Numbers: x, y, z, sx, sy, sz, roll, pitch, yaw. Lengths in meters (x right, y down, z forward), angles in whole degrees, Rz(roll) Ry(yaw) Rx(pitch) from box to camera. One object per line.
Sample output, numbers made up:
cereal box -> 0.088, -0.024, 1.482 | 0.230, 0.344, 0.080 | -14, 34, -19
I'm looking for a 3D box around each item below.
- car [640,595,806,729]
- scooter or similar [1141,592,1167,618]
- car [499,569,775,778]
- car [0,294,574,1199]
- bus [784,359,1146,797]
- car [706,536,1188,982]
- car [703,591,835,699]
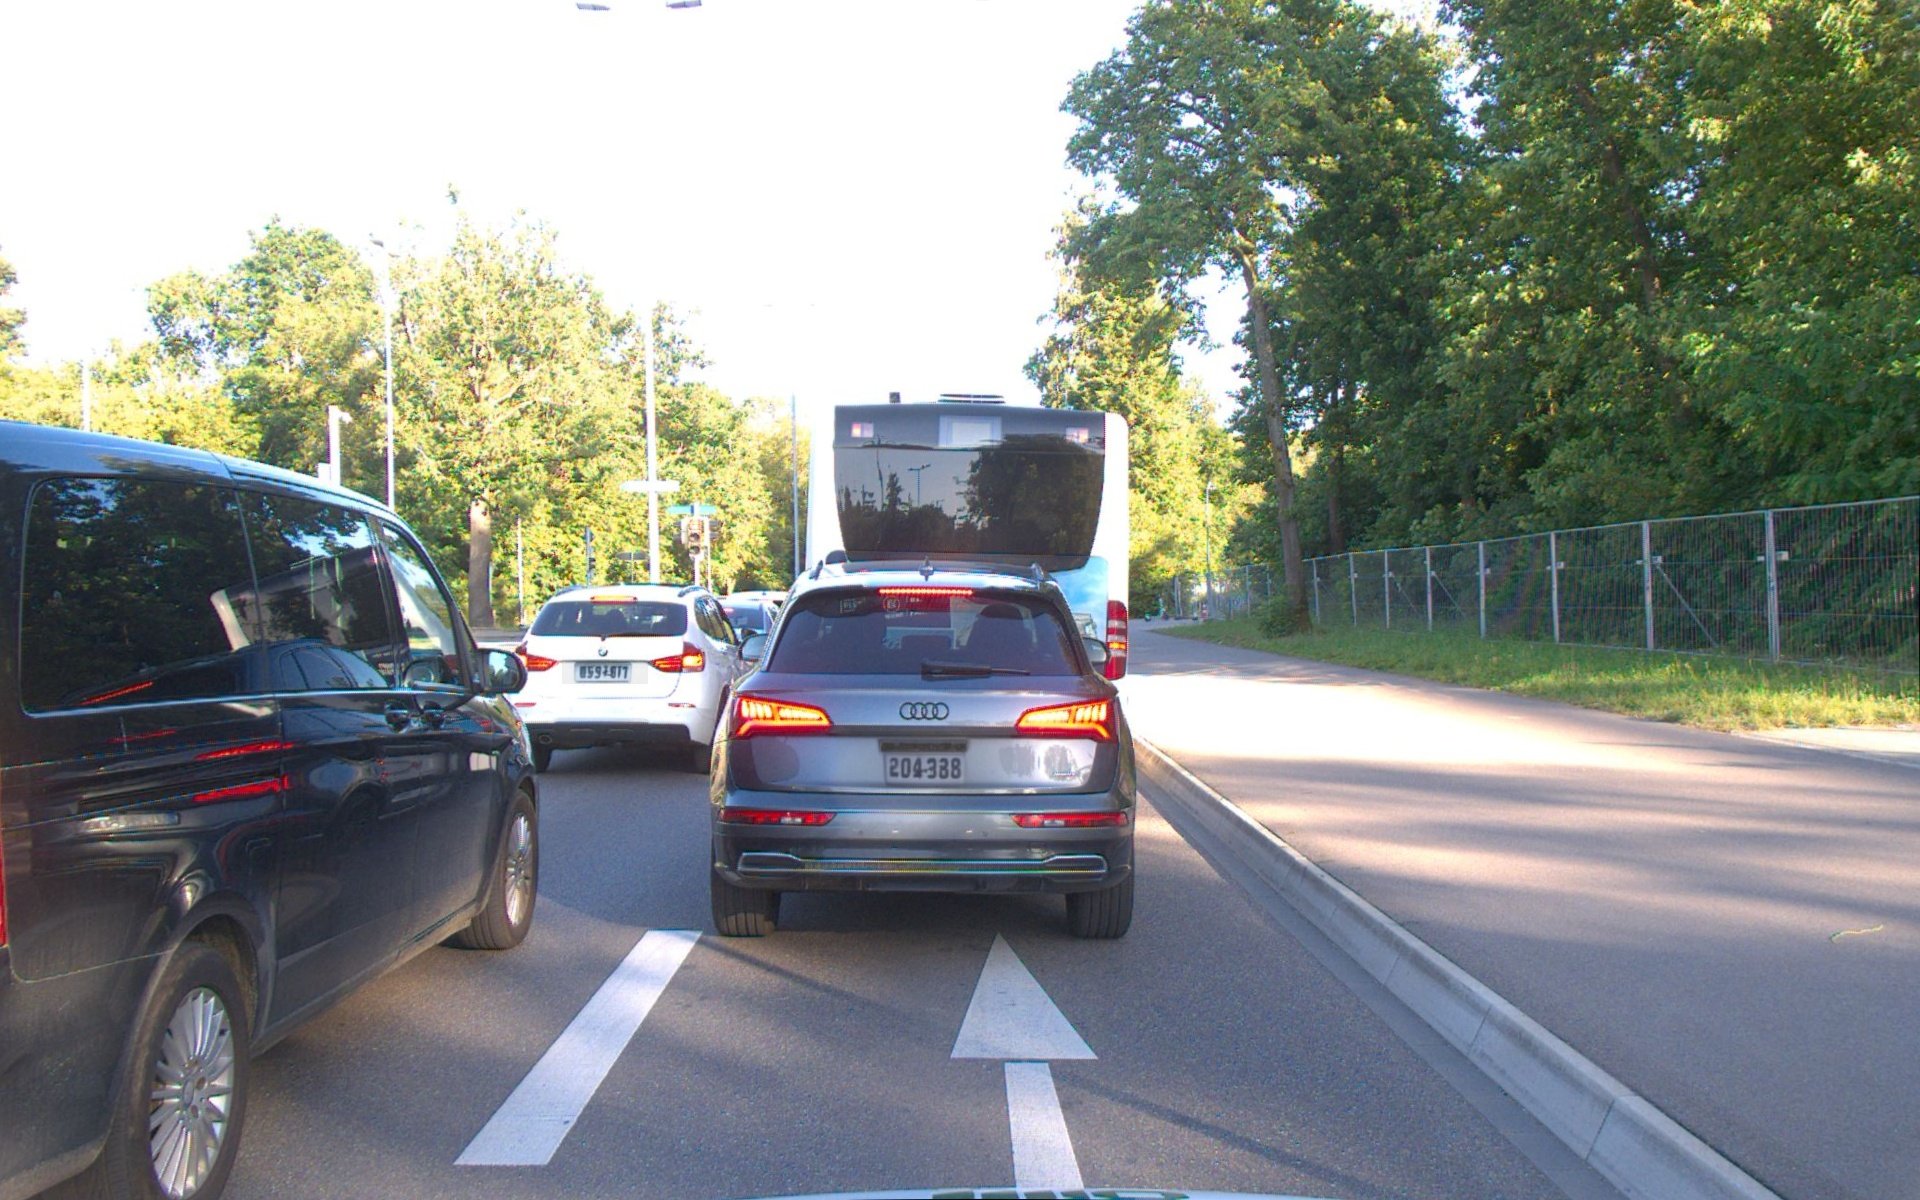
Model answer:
car -> -2.923, 0.704, 21.168 | 1.750, 1.469, 4.275 | 1, 1, -4
scooter or similar -> 9.157, 0.240, 78.073 | 1.158, 1.195, 0.659 | 1, 0, 10
car -> -2.770, 0.612, 15.128 | 1.683, 1.608, 4.433 | 1, -1, -1
car -> -2.642, 0.391, 5.099 | 1.869, 1.888, 4.871 | 1, 0, -2
bus -> 0.057, -0.201, 15.163 | 2.623, 3.196, 5.882 | 1, 1, 0
car -> -0.075, 0.588, 8.370 | 1.830, 1.693, 4.000 | 1, 1, -1
car -> -3.106, 0.685, 27.561 | 1.771, 1.599, 4.000 | 1, 1, -1
